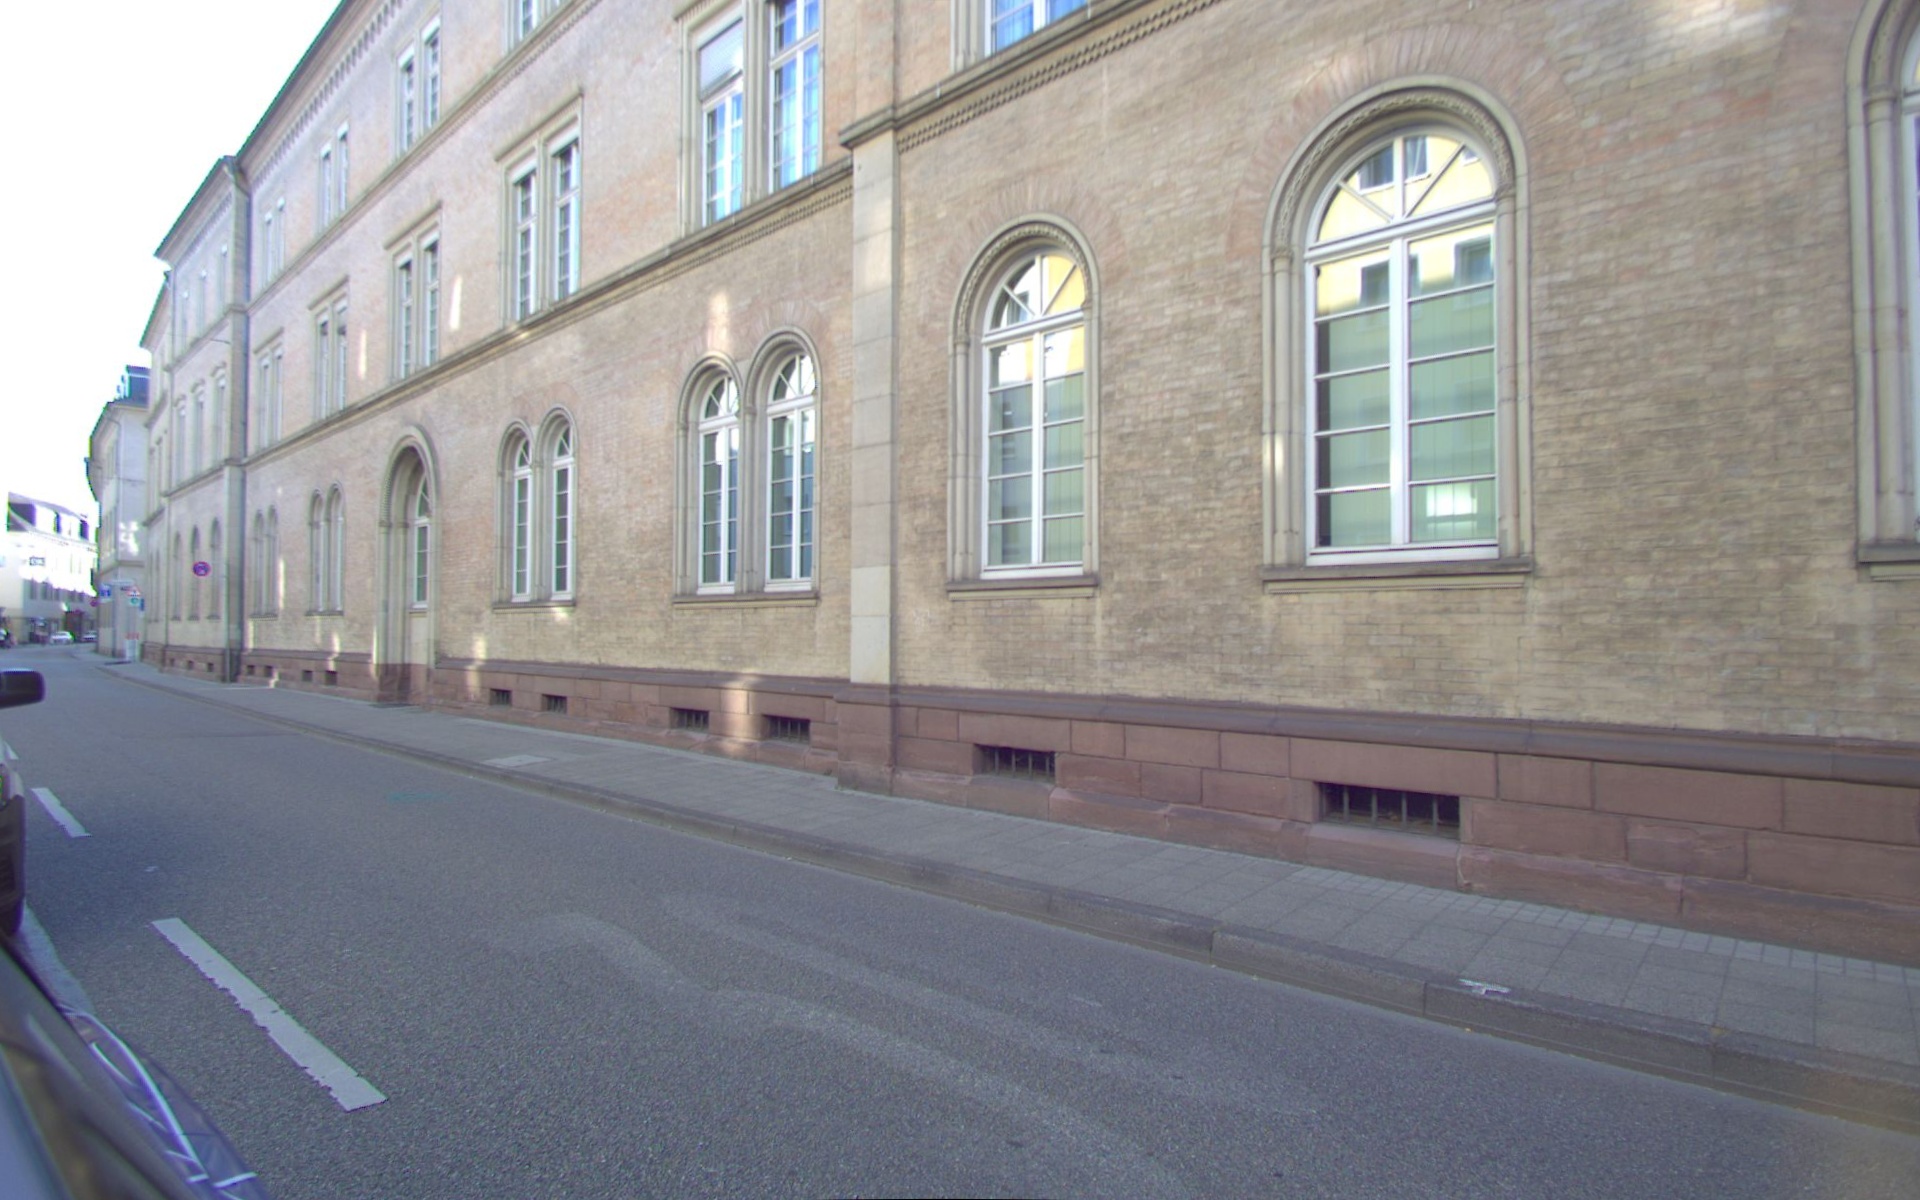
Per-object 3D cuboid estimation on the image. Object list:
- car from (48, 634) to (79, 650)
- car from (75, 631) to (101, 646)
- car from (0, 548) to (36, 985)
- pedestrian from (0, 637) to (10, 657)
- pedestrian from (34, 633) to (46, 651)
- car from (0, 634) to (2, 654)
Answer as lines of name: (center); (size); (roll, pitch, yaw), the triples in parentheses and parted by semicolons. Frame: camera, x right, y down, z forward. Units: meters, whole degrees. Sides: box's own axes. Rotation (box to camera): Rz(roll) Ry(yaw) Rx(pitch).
car: (-102.869, 4.754, 116.168); (1.966, 1.665, 4.240); (-1, 0, -33)
car: (-109.243, 4.839, 126.820); (1.966, 1.665, 4.240); (-1, 0, -33)
car: (-6.437, 0.691, 5.311); (5.329, 1.784, 1.747); (-1, -2, 41)
pedestrian: (-79.498, 3.875, 84.025); (0.694, 1.648, 0.834); (5, -4, -38)
pedestrian: (-90.054, 4.123, 99.083); (0.694, 1.648, 0.834); (5, -4, -36)
car: (-86.625, 3.948, 89.945); (1.969, 1.665, 4.235); (-1, 0, -41)
